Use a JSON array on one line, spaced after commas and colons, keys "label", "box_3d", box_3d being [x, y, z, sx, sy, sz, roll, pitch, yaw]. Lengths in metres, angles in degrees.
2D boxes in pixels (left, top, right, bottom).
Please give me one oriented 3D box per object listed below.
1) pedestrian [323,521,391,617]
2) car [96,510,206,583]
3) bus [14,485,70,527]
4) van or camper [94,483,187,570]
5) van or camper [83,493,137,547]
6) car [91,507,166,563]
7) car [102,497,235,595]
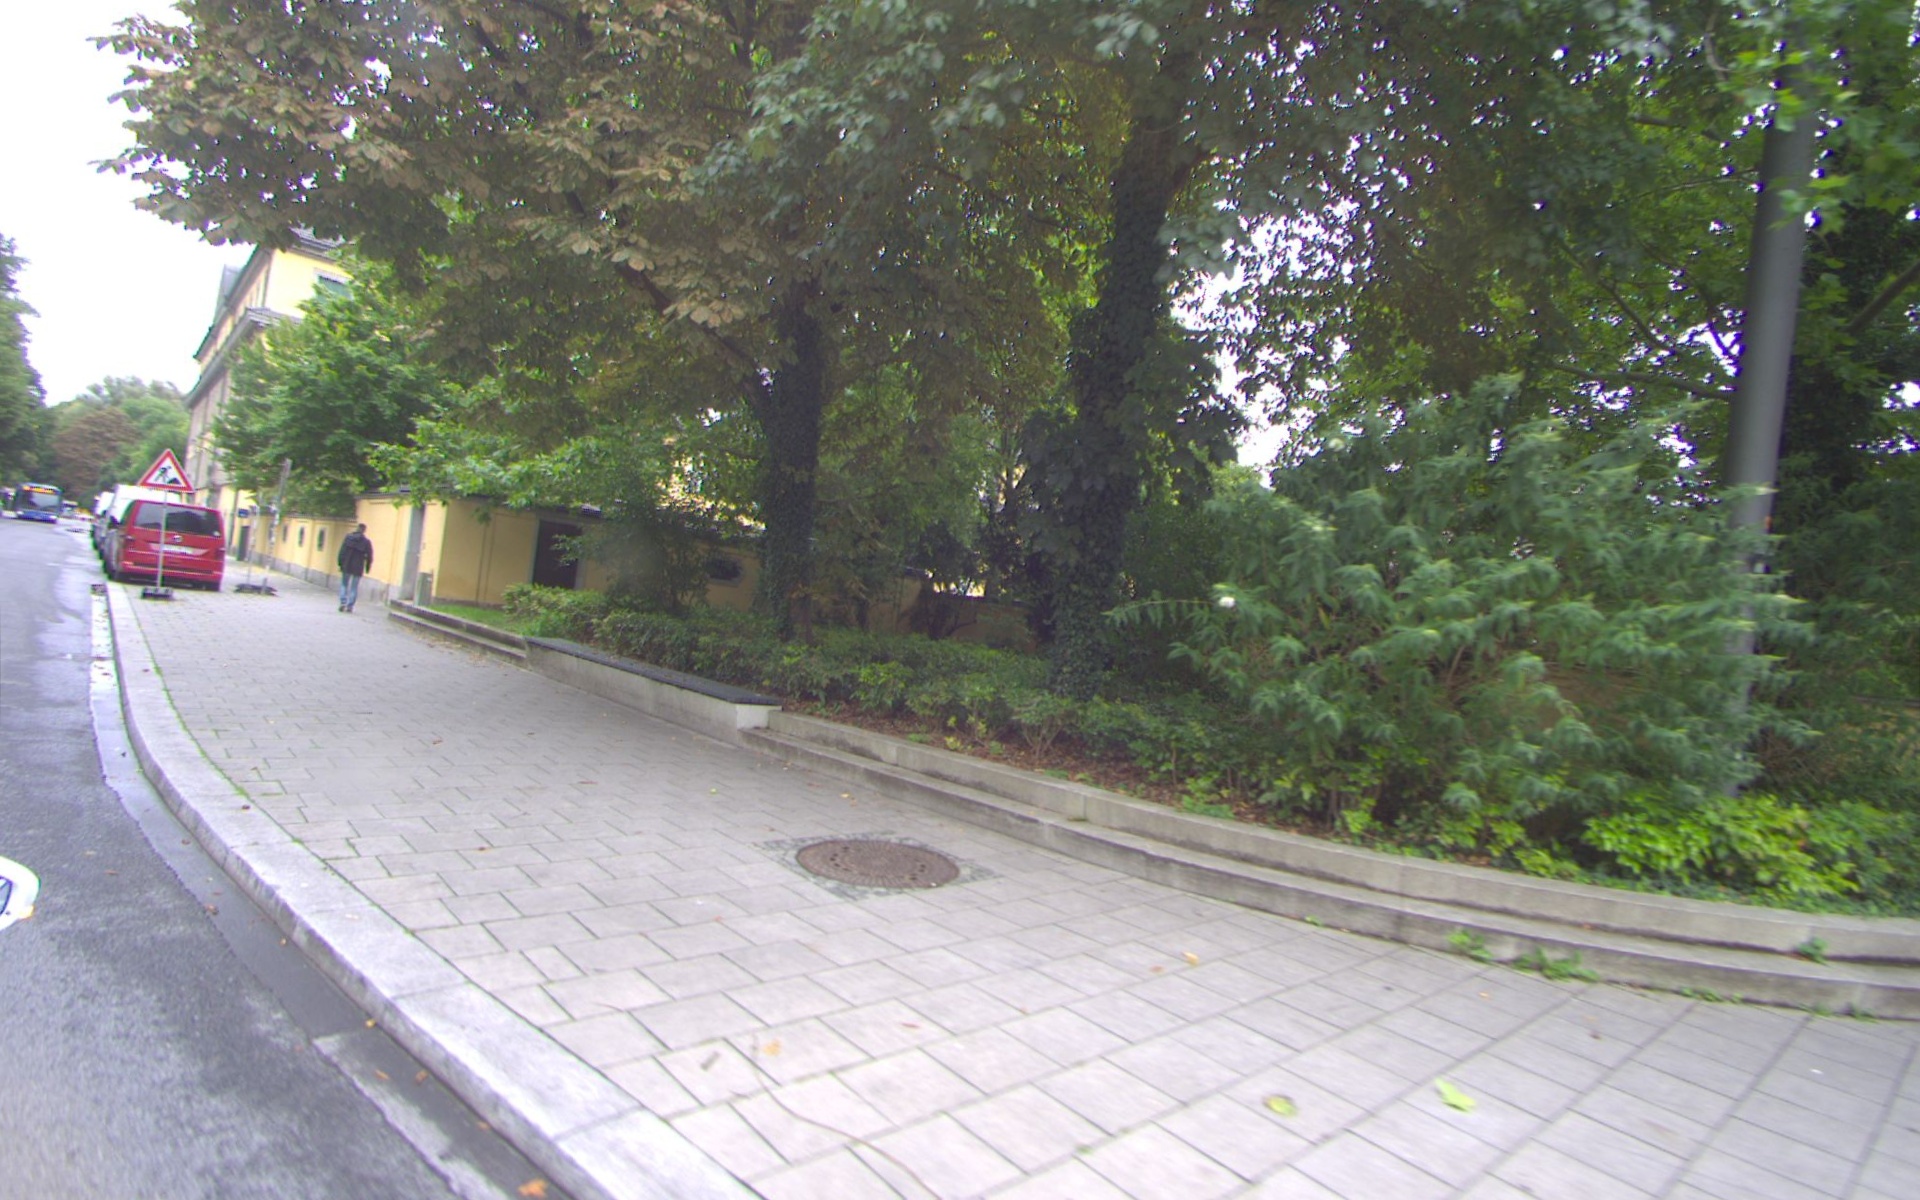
[{"label": "pedestrian", "box_3d": [-12.644, -0.653, 21.087, 0.870, 1.853, 1.040, 8, 0, -41]}, {"label": "car", "box_3d": [-22.070, -1.491, 27.380, 1.984, 1.628, 4.270, 7, -1, -42]}, {"label": "bus", "box_3d": [-78.346, -7.969, 86.077, 2.703, 2.933, 14.390, 8, -2, -40]}, {"label": "van or camper", "box_3d": [-28.696, -2.561, 35.155, 2.124, 2.577, 5.182, 7, -1, -42]}, {"label": "van or camper", "box_3d": [-49.672, -4.680, 58.753, 2.107, 2.766, 5.182, 7, -1, -41]}, {"label": "car", "box_3d": [-33.470, -2.634, 40.449, 1.984, 1.867, 4.270, 7, -1, -42]}, {"label": "car", "box_3d": [-18.580, -1.293, 23.524, 1.984, 1.861, 4.657, 7, -1, -42]}]
